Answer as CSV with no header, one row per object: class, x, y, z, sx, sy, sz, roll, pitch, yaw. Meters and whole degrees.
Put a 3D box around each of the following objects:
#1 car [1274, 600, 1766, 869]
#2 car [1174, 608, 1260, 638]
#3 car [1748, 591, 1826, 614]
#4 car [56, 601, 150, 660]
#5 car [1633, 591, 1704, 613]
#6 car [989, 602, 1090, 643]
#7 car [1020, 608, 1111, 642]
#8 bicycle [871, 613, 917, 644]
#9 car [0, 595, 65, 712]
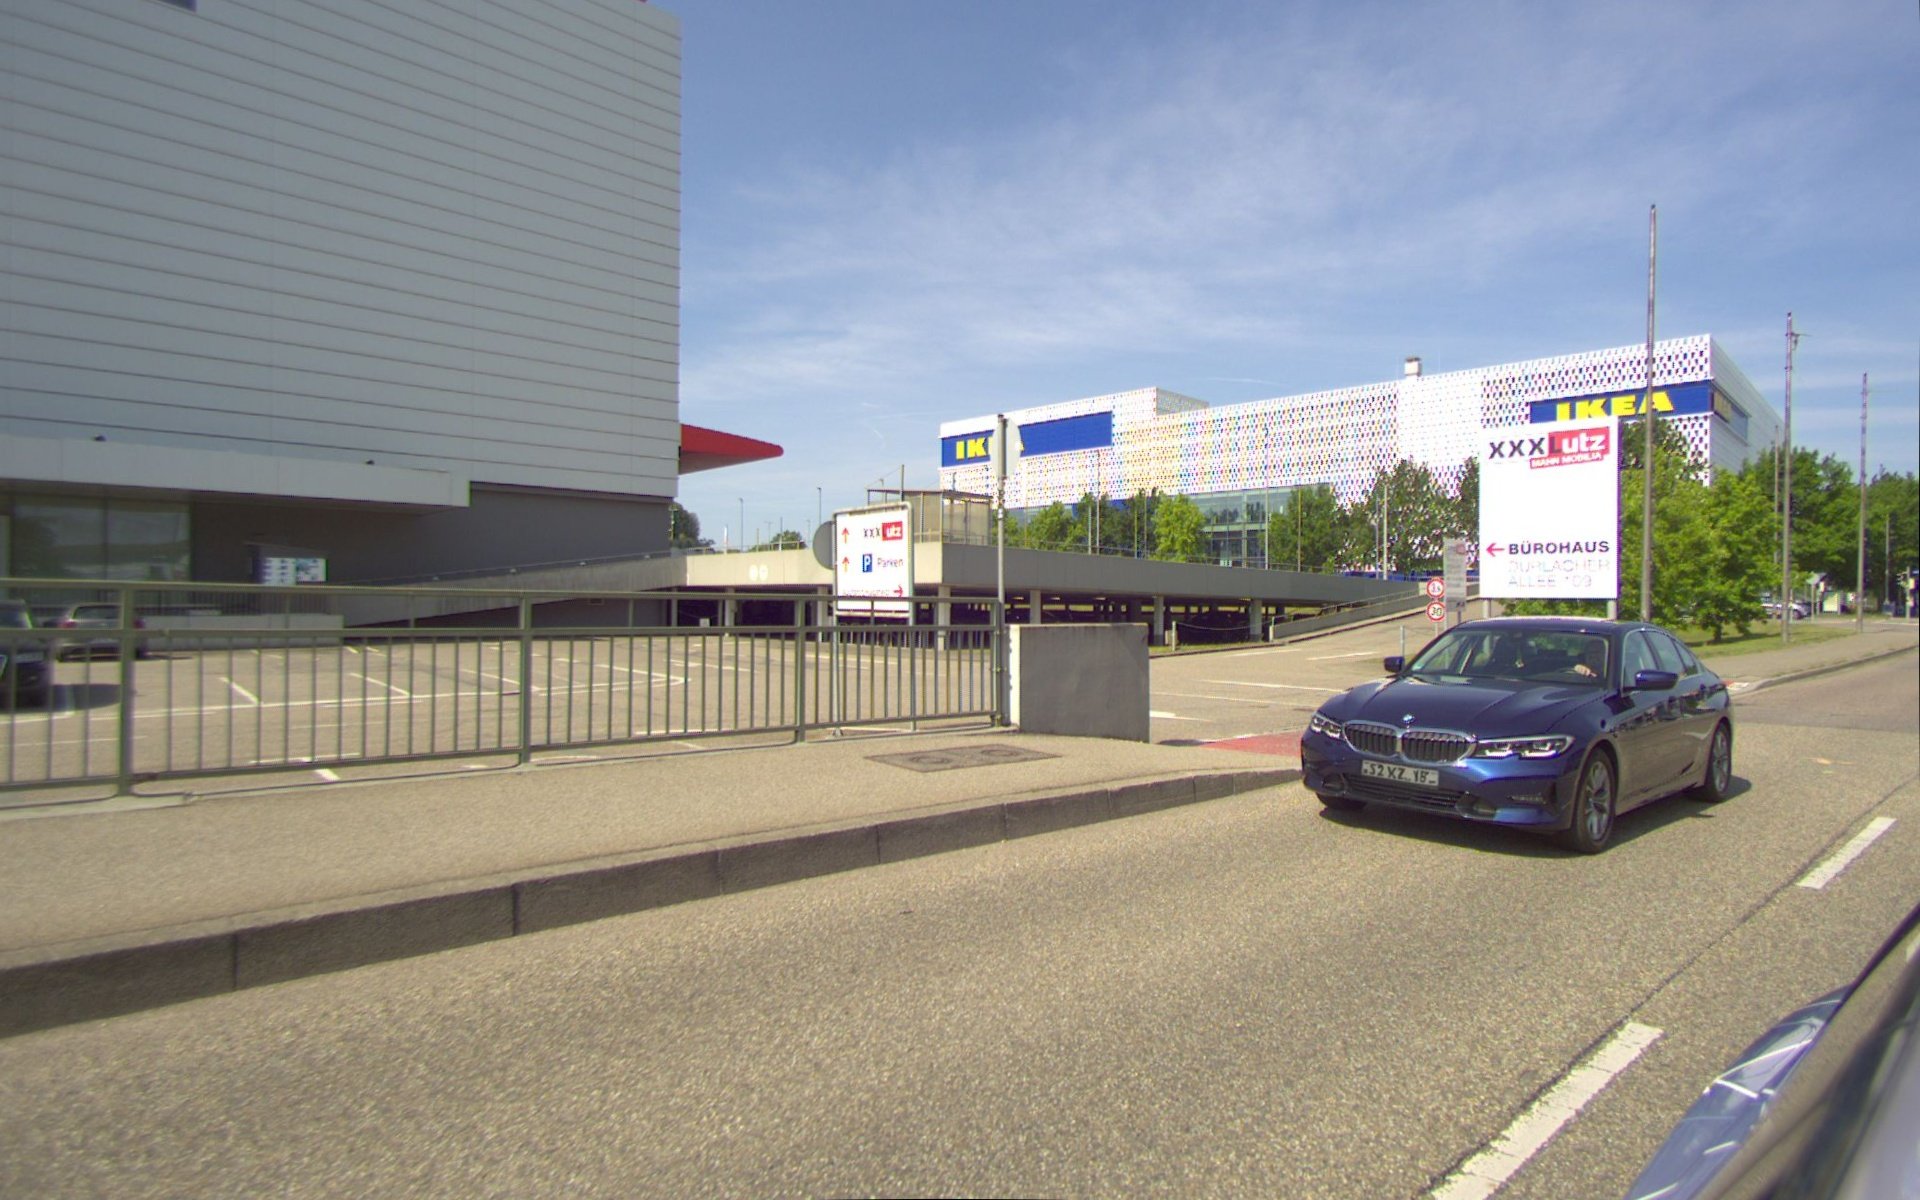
car,4.415,0.771,7.640,4.457,1.447,1.799,1,-1,-40
car,13.764,1.214,54.270,4.107,1.542,1.773,-2,-1,42
car,56.739,0.151,69.472,1.777,1.578,3.892,0,0,-40
car,-21.878,0.756,25.800,1.577,1.394,3.517,1,-2,-44
car,52.431,0.147,74.940,1.876,1.527,4.034,-1,2,-42
car,3.300,0.947,42.611,1.723,1.648,4.153,0,-1,-44
car,4.643,1.099,44.812,1.660,1.405,3.874,0,-1,-44
bicycle,-2.334,1.005,36.116,1.678,1.073,0.512,1,-1,-41
car,-16.145,0.799,16.704,1.808,1.634,4.426,1,1,-44
